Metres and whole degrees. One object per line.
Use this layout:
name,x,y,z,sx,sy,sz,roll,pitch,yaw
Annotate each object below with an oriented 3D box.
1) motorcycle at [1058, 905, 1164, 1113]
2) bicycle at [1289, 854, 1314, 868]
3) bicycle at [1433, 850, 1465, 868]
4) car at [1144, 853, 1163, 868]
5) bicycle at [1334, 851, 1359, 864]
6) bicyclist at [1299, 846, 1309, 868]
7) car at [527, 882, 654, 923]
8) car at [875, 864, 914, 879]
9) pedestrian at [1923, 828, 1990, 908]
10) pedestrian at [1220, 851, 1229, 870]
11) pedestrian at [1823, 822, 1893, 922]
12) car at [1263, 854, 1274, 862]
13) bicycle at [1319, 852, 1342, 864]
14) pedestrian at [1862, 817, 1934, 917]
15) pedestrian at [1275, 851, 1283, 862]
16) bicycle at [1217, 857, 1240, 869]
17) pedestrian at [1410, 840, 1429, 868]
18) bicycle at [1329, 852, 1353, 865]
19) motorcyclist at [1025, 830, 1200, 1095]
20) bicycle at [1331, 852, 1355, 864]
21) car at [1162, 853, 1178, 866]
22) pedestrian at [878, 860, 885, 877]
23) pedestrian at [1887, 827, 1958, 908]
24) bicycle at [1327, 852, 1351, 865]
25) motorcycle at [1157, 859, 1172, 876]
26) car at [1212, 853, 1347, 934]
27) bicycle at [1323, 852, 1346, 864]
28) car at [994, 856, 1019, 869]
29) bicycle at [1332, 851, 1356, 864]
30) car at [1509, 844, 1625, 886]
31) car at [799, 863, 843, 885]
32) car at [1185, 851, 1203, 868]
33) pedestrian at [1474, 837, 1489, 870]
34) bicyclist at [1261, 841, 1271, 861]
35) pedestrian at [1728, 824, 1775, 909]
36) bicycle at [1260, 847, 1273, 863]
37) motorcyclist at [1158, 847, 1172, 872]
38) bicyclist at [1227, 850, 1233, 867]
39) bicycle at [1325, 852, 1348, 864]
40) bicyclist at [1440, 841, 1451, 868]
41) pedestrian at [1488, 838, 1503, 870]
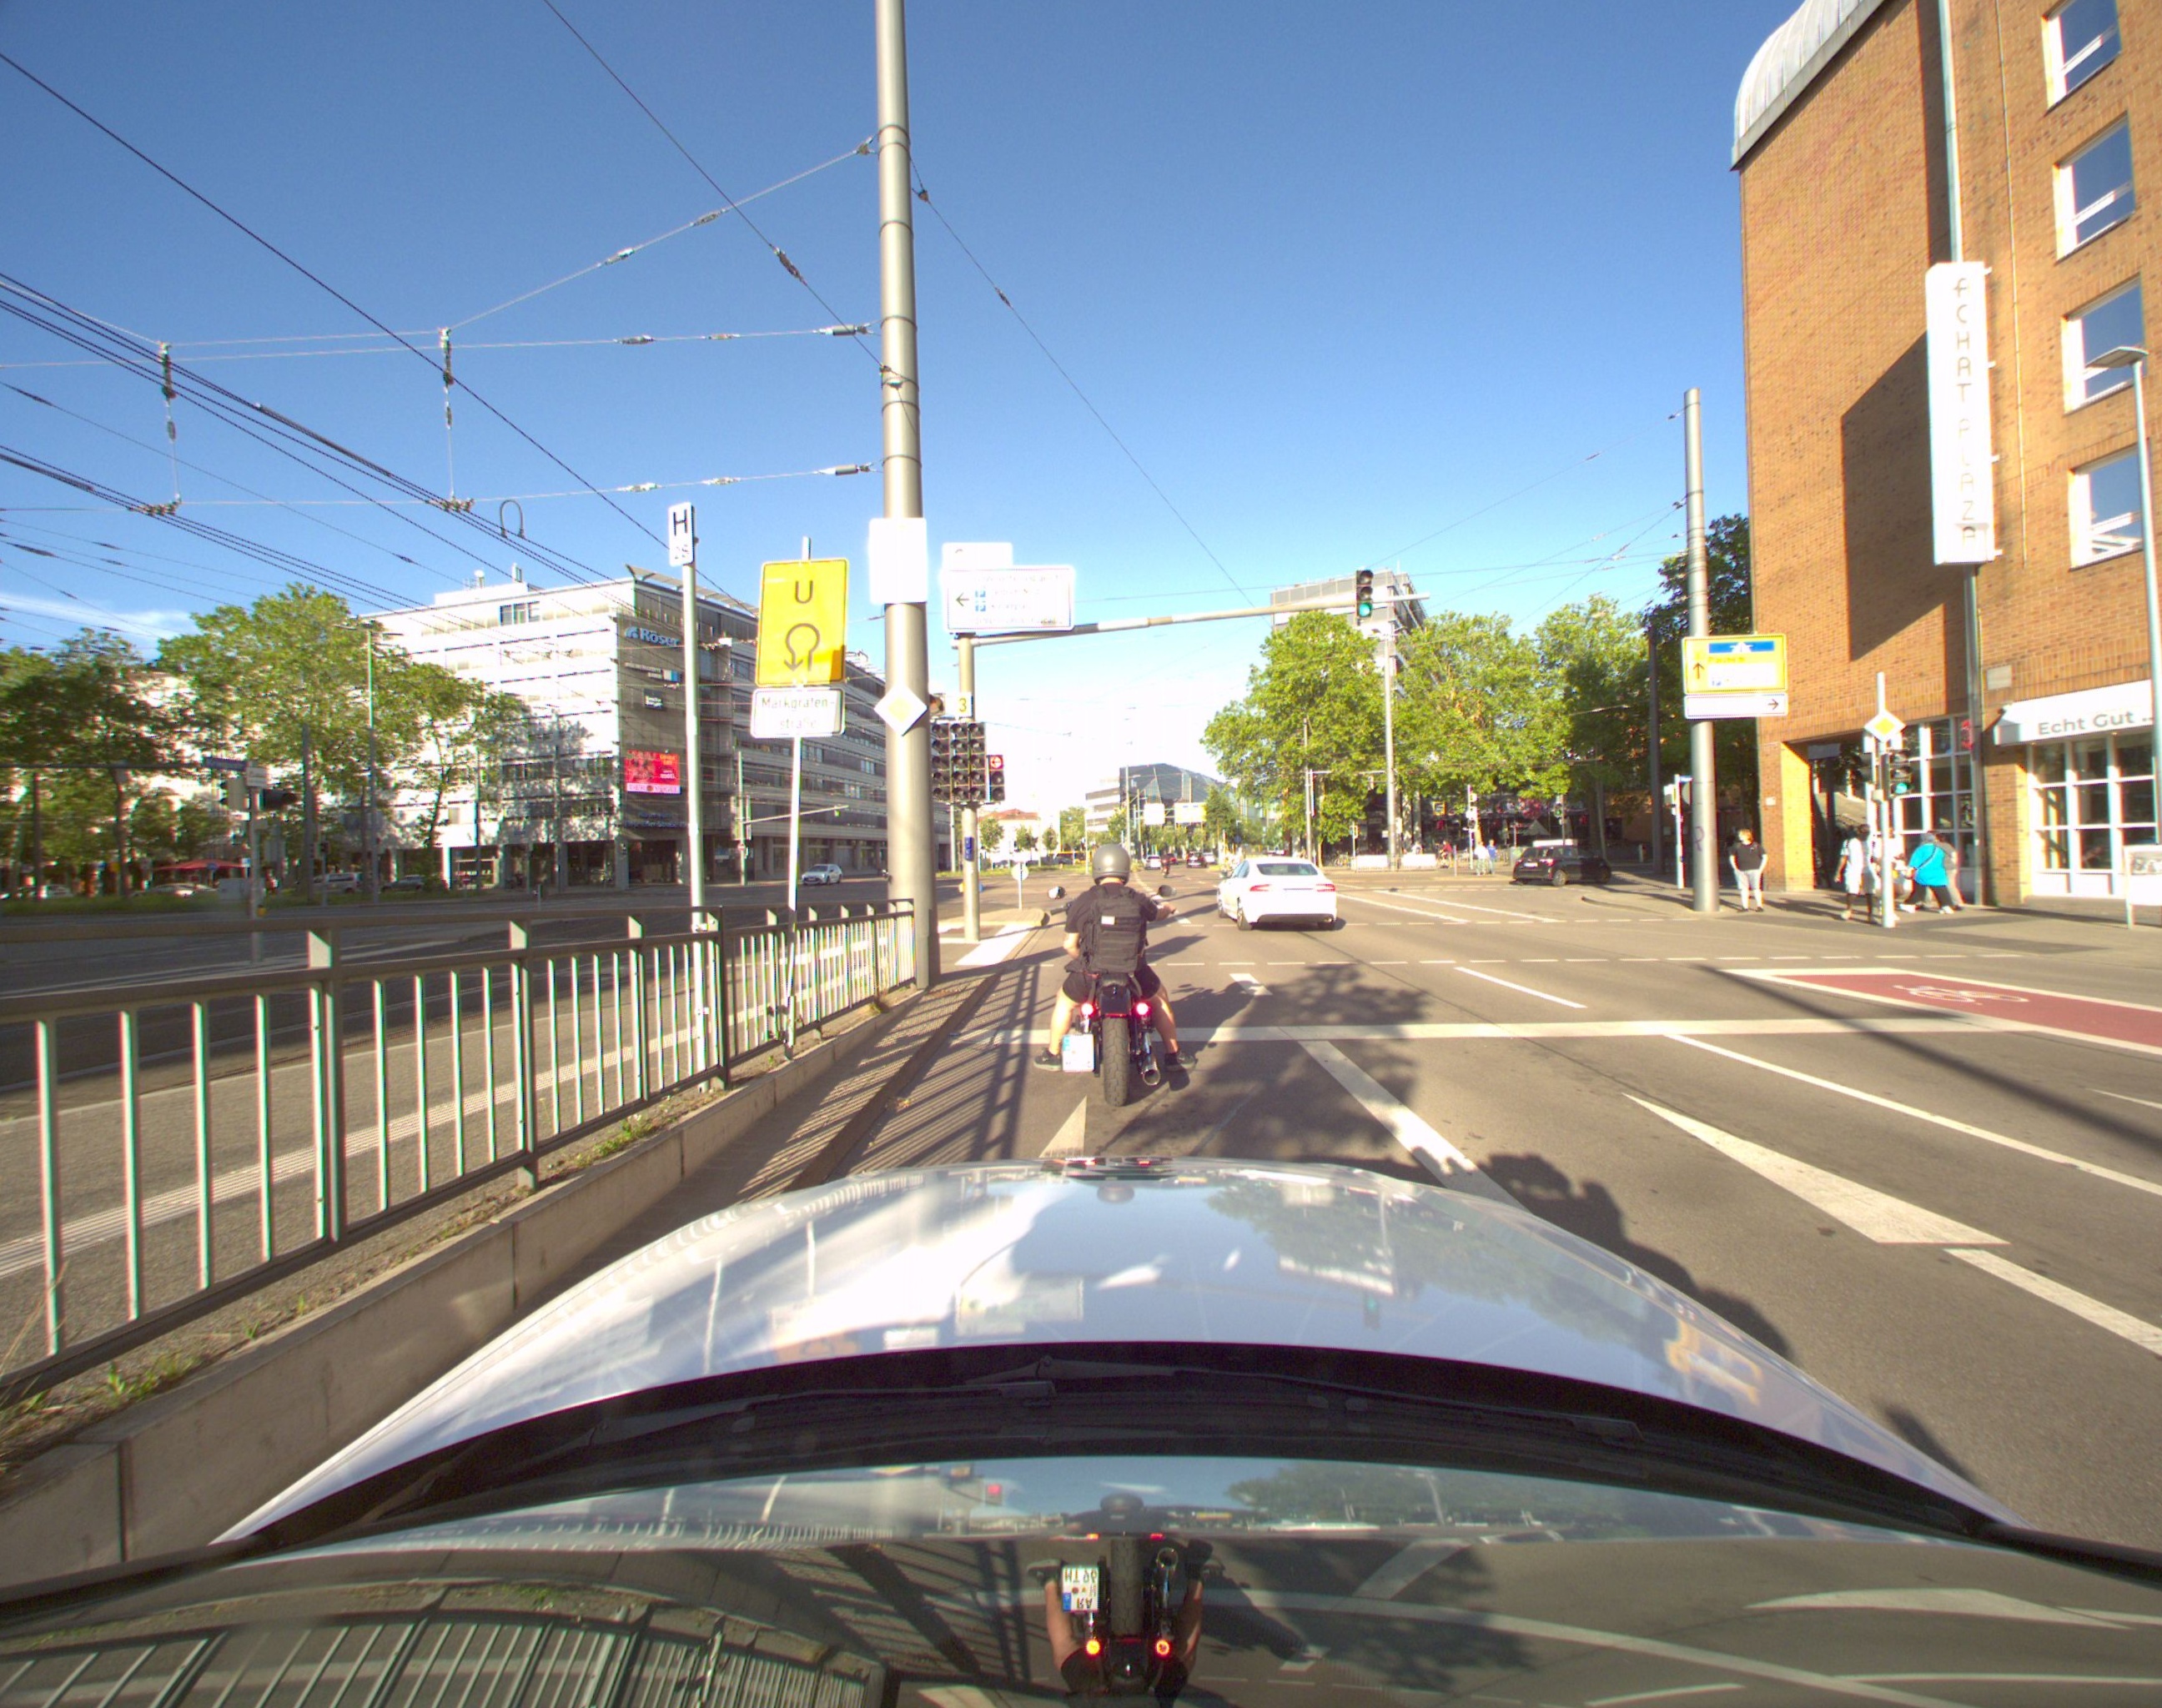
motorcycle,0.205,0.952,5.760,0.598,1.036,2.235,0,0,2
bicycle,17.568,0.564,64.971,1.854,1.044,0.540,-1,-1,20
bicycle,25.360,0.348,56.134,2.034,1.214,0.421,0,-1,2
car,7.277,0.622,81.465,1.723,1.457,4.425,0,-1,6
bicycle,21.339,0.285,65.378,1.874,1.046,0.360,0,-1,1
bicyclist,17.751,0.242,64.904,0.682,1.673,0.544,-2,-2,21
car,-13.840,1.358,23.124,2.884,1.063,1.235,0,-1,-19
car,-17.604,1.630,77.040,1.812,1.430,4.256,-1,-1,13
pedestrian,16.558,0.263,15.407,0.590,1.476,0.552,-2,-1,2
pedestrian,12.080,0.538,68.616,0.587,1.557,0.488,0,-1,-6
pedestrian,14.303,0.319,15.008,0.587,1.780,0.685,-5,0,18
car,37.610,0.840,163.345,1.789,1.678,4.059,0,-1,18
bicycle,21.553,0.356,70.299,1.874,1.046,0.360,0,0,1
pedestrian,14.968,0.237,14.944,0.588,1.780,0.684,-3,-1,13
pedestrian,21.978,0.281,90.383,0.814,1.314,0.640,-1,-1,11
bicycle,12.143,0.754,66.937,1.823,0.925,0.357,0,-1,-7
pedestrian,21.329,0.007,51.318,0.829,1.704,0.760,0,-1,2
bicycle,21.537,0.348,67.530,1.874,1.046,0.360,0,0,1
motorcyclist,0.204,0.662,5.413,1.027,1.593,0.874,-2,0,1
bicycle,21.570,0.329,66.972,1.874,1.046,0.360,0,-1,1
car,12.213,0.770,111.181,1.791,1.678,4.054,0,-1,12
pedestrian,-23.869,1.704,97.283,0.628,2.014,0.754,0,-1,2
pedestrian,15.866,0.254,15.372,0.590,1.452,0.601,-4,-1,2
bicycle,21.586,0.356,68.161,1.874,1.046,0.360,0,-1,1
motorcycle,5.227,0.862,50.914,0.801,1.050,2.376,0,-1,2
car,4.002,0.726,17.191,1.797,1.430,4.453,-2,0,1
bicycle,21.527,0.350,69.148,1.874,1.046,0.360,0,0,1
car,-9.206,1.092,100.568,1.736,1.524,4.016,-1,-1,16
bicycle,21.377,0.307,66.160,1.874,1.046,0.360,0,-1,1
car,18.041,0.369,30.210,4.047,1.450,1.723,-1,0,-25
car,-18.672,1.395,58.646,1.821,1.430,4.526,-2,0,-2
car,12.208,0.602,88.212,1.723,1.732,4.620,0,0,6
pedestrian,19.088,-0.023,38.826,0.561,1.533,0.706,-1,-1,21
bicyclist,16.108,-0.256,70.924,0.693,1.808,0.730,0,-1,6
pedestrian,14.445,0.271,17.547,0.727,1.792,0.515,-1,-1,42
bicycle,16.111,0.086,70.832,0.722,1.367,2.922,0,-1,6
motorcyclist,5.207,0.335,50.657,0.793,1.580,0.529,0,-1,1
bicyclist,12.231,0.394,66.968,0.380,1.373,0.344,0,-1,-7
bicycle,21.527,0.350,68.648,1.874,1.046,0.360,0,0,1
bicyclist,25.142,0.041,56.150,0.582,1.837,0.403,0,-1,1
pedestrian,19.747,-0.004,38.792,0.561,1.479,0.706,-1,-1,22
